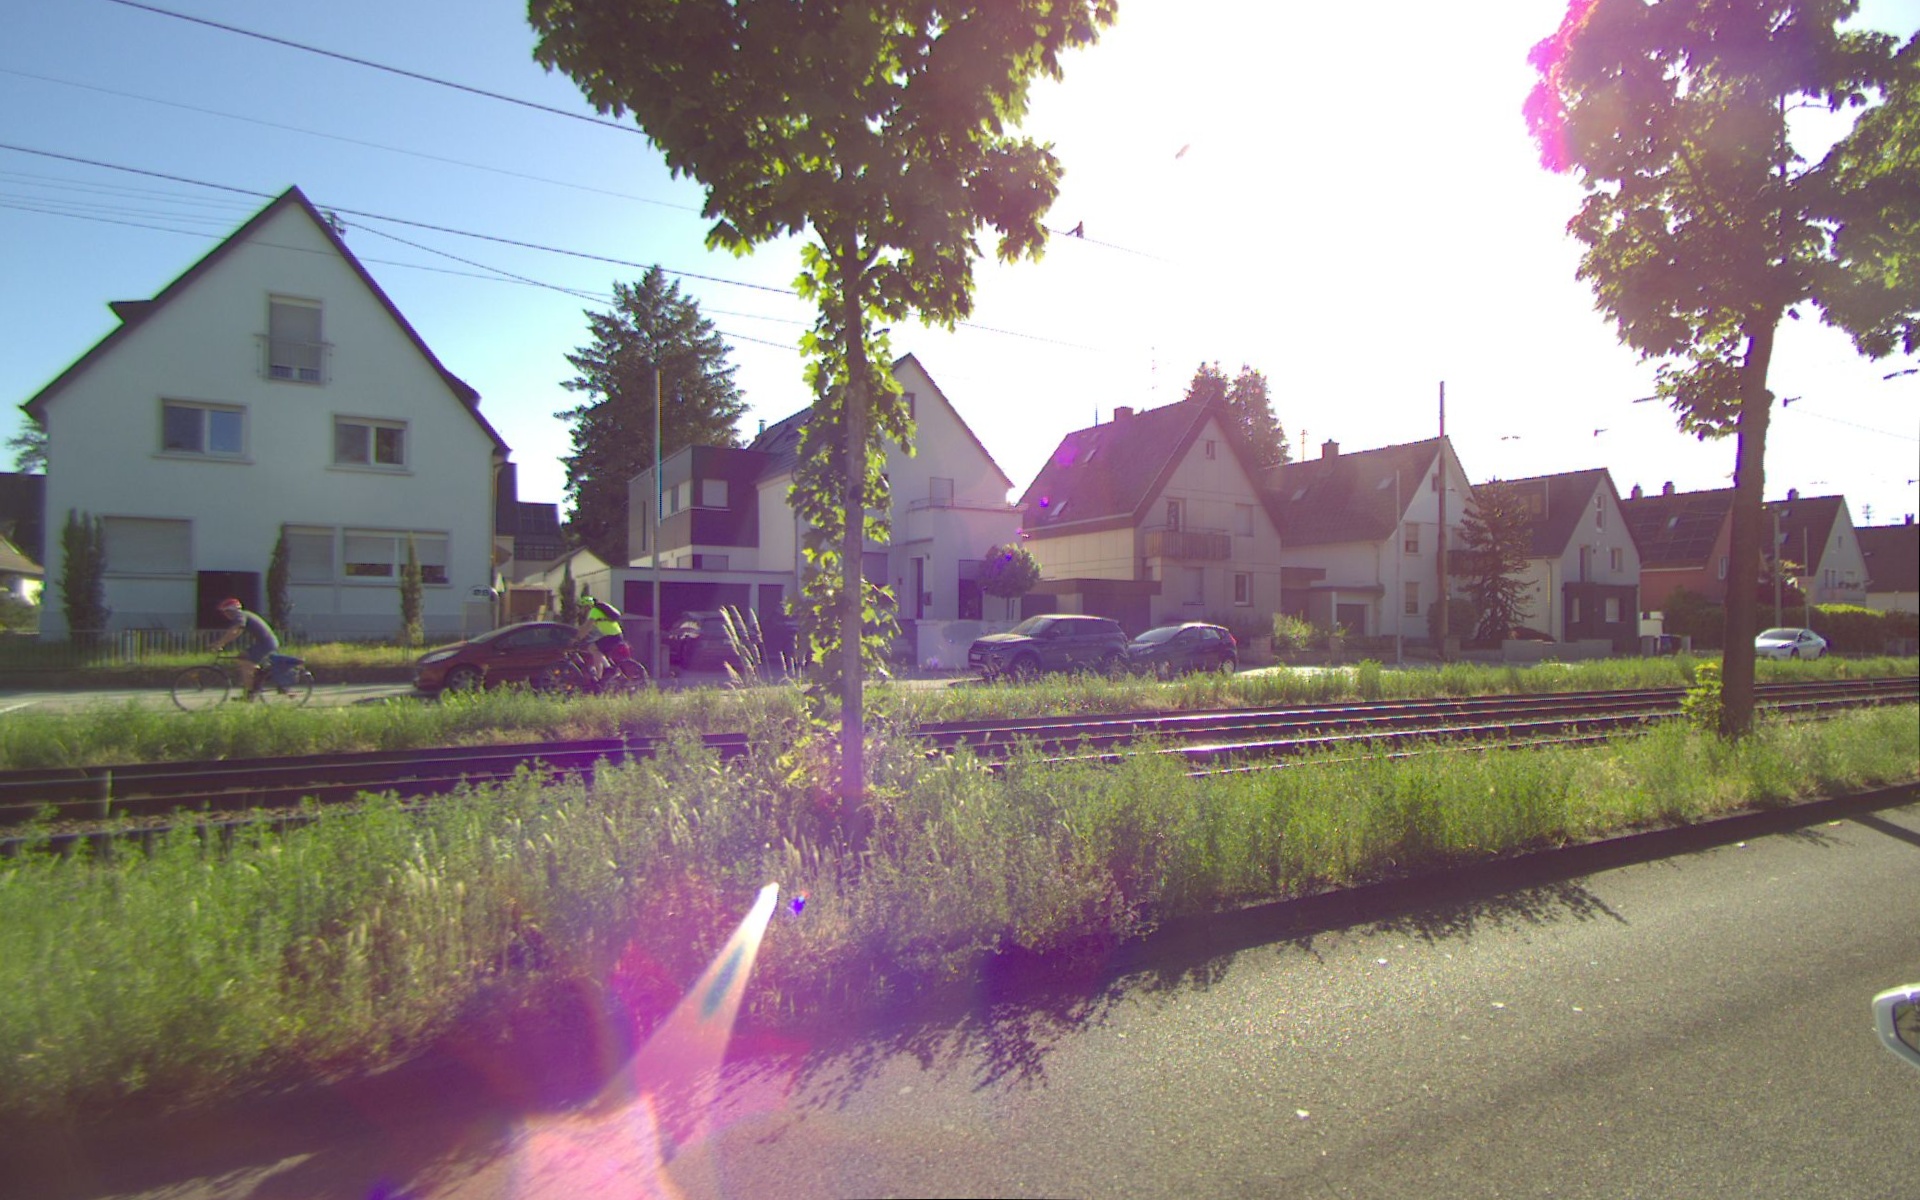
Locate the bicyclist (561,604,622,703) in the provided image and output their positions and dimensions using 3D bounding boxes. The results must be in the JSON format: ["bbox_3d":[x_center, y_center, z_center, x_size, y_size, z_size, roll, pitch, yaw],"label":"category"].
[{"bbox_3d":[-6.411,0.917,17.478,0.871,1.674,0.685,1,-1,-30],"label":"bicyclist"}]

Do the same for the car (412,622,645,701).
[{"bbox_3d":[-8.202,1.149,19.196,3.951,1.344,1.487,2,0,-29],"label":"car"}]

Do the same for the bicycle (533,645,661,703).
[{"bbox_3d":[-6.321,1.275,17.544,2.071,0.940,0.396,1,-1,-30],"label":"bicycle"}]

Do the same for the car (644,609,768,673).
[{"bbox_3d":[-6.825,1.033,26.702,1.917,1.483,4.188,2,0,-33],"label":"car"}]

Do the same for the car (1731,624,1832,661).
[{"bbox_3d":[38.797,1.989,47.422,4.670,1.620,1.986,2,0,-27],"label":"car"}]

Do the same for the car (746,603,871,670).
[{"bbox_3d":[-4.296,0.977,28.011,1.979,1.691,3.963,2,0,-33],"label":"car"}]

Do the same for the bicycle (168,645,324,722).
[{"bbox_3d":[-10.640,1.230,15.040,1.857,1.084,0.396,1,-1,-30],"label":"bicycle"}]

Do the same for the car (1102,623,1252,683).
[{"bbox_3d":[5.919,1.417,27.303,3.942,1.470,1.606,2,0,-30],"label":"car"}]

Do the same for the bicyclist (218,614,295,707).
[{"bbox_3d":[-10.547,0.891,15.090,0.871,1.354,0.685,1,-1,-30],"label":"bicyclist"}]

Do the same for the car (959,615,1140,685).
[{"bbox_3d":[2.273,1.235,25.194,4.332,1.589,1.637,2,0,-29],"label":"car"}]
